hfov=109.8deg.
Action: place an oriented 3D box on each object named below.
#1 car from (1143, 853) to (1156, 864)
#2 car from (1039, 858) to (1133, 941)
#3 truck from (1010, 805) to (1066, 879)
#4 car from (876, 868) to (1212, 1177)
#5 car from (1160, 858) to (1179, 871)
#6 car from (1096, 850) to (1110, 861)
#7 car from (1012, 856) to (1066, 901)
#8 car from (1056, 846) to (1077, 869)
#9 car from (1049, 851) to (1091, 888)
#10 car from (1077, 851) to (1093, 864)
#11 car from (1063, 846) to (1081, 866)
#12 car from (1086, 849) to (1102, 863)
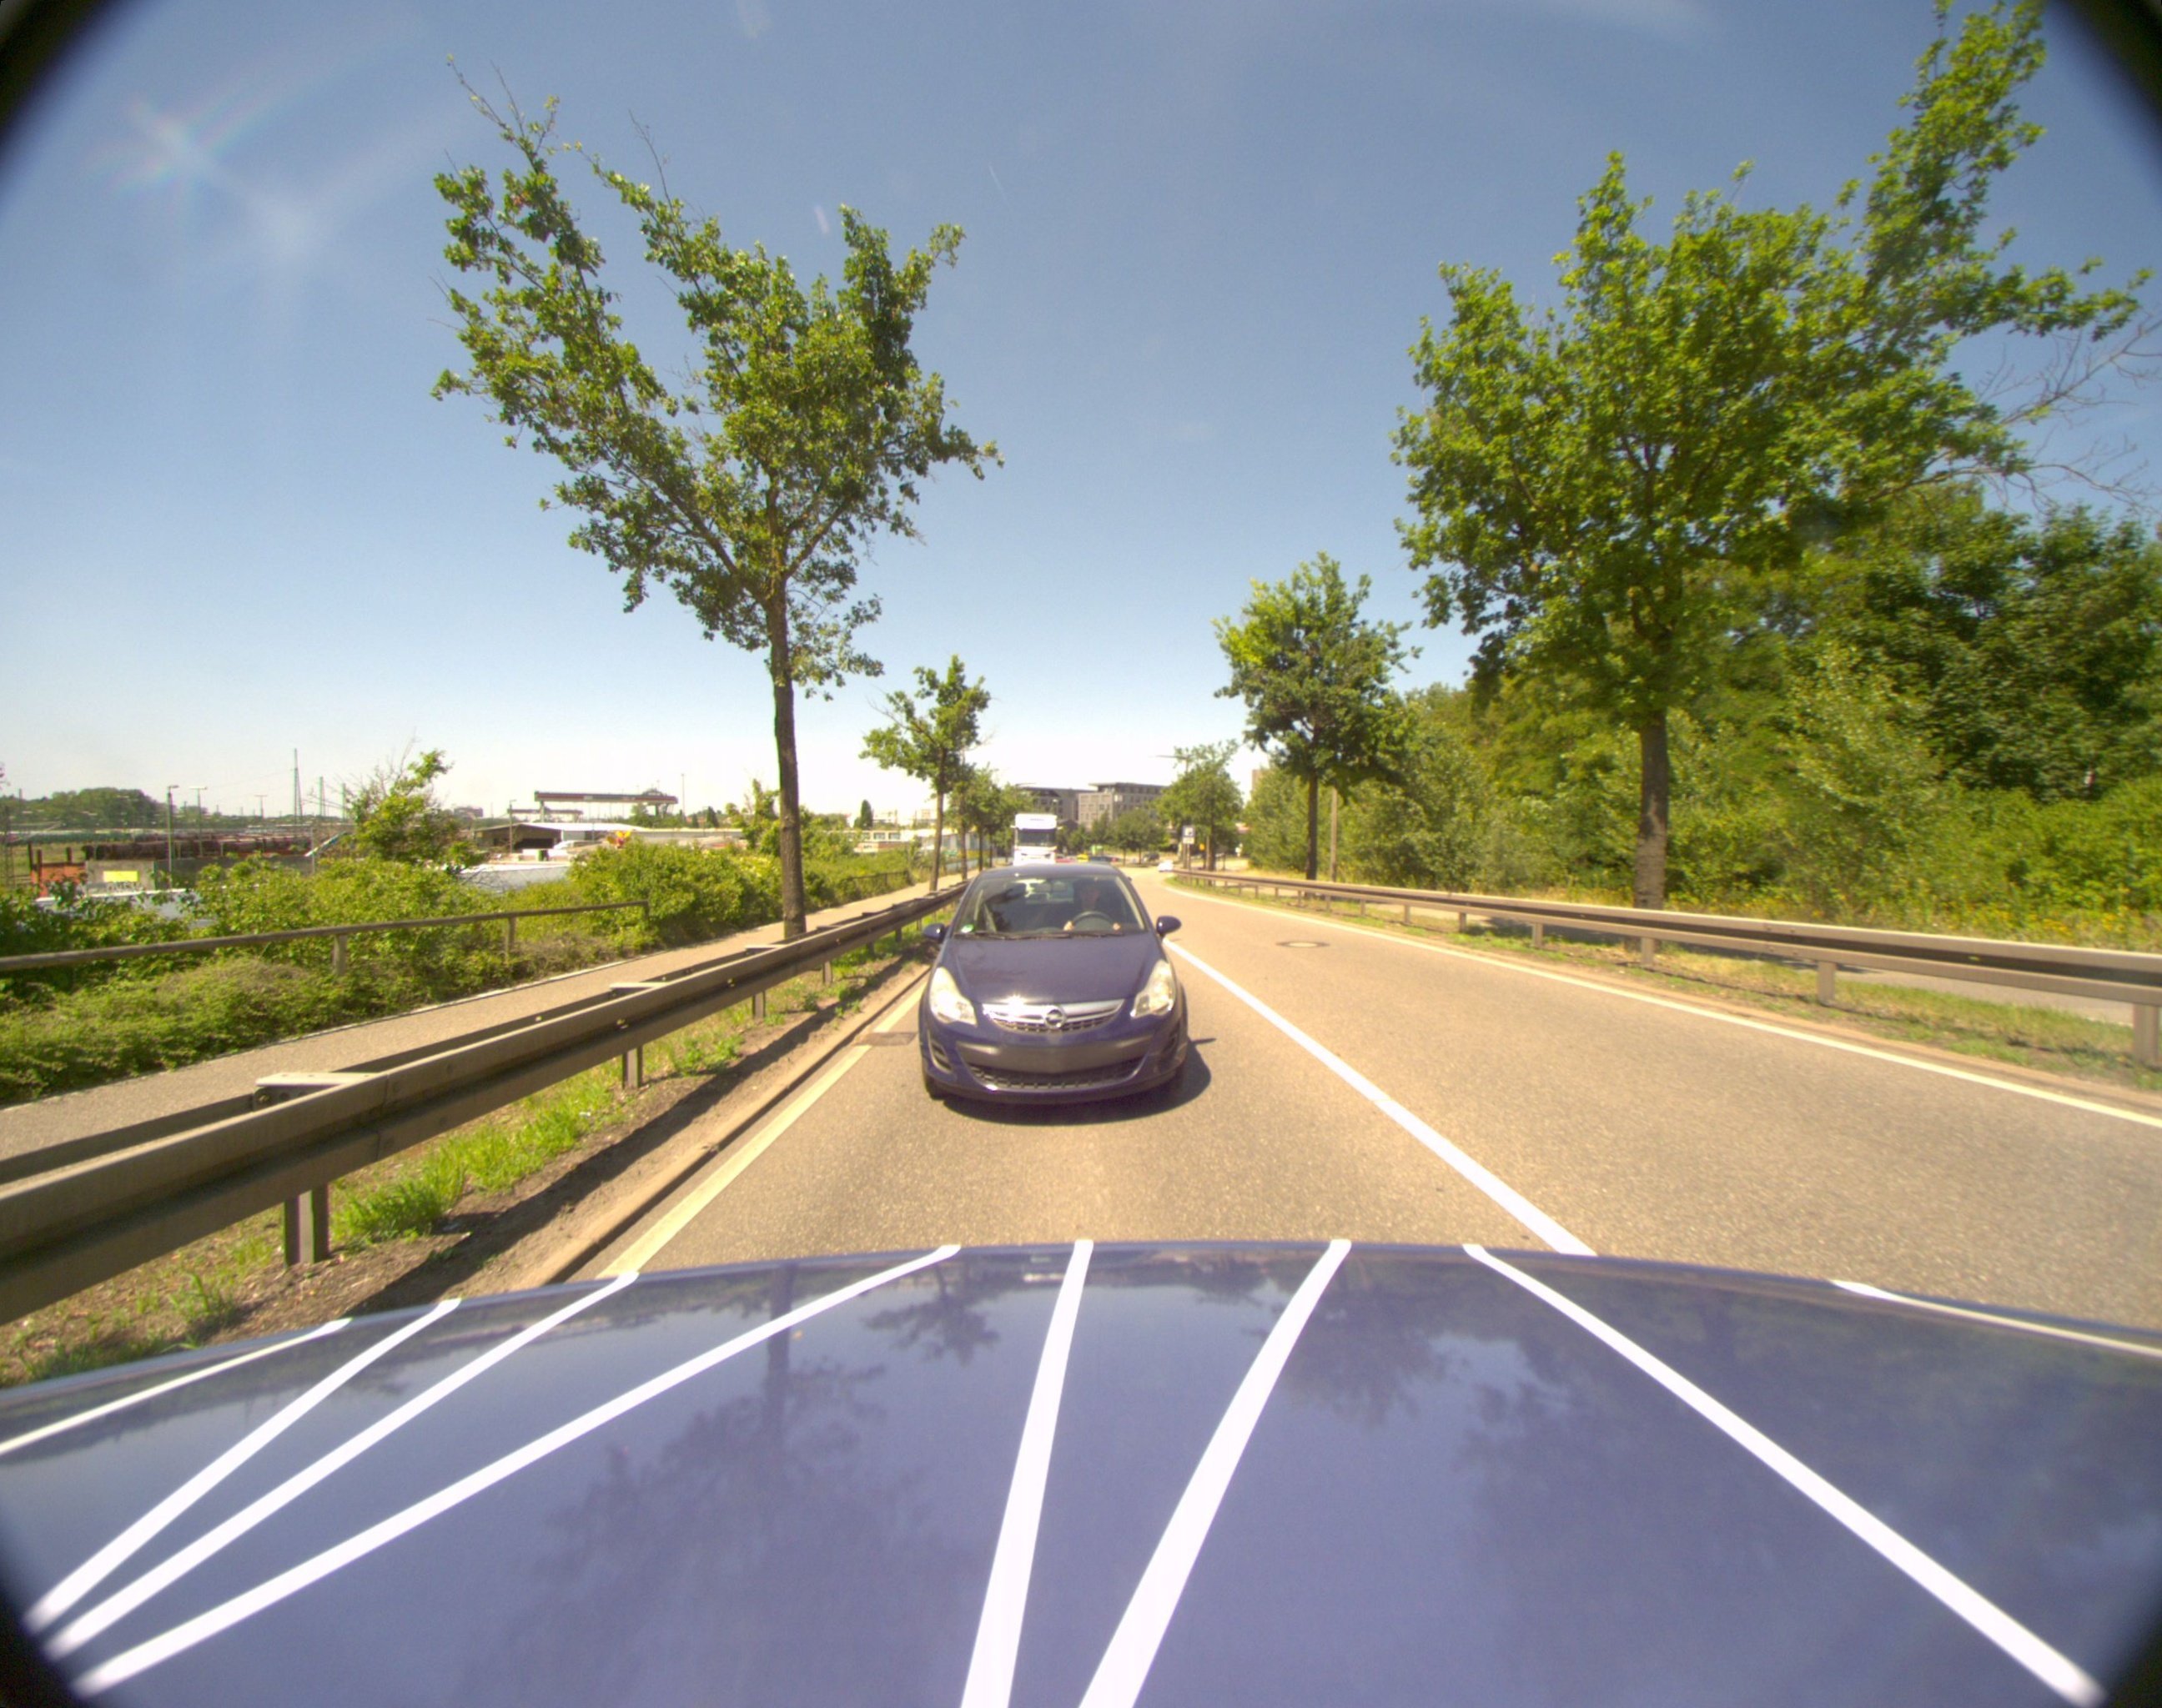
[{"bbox_3d":[13.478,0.965,150.353,1.778,2.002,4.004,-2,1,16],"label":"car"},{"bbox_3d":[-0.007,0.891,16.805,1.781,1.498,3.894,-2,1,-4],"label":"car"},{"bbox_3d":[-3.199,-0.742,51.818,3.072,4.146,16.901,-2,1,-5],"label":"truck"},{"bbox_3d":[-0.278,0.919,5.932,1.720,1.455,3.836,-2,1,-3],"label":"car"},{"bbox_3d":[11.062,1.348,94.768,1.778,1.435,4.004,-2,1,16],"label":"car"},{"bbox_3d":[3.545,0.208,121.107,1.779,1.657,4.002,-2,1,9],"label":"car"},{"bbox_3d":[-1.551,0.839,27.841,1.781,1.398,3.998,-2,1,-4],"label":"car"},{"bbox_3d":[-1.351,0.289,71.715,1.780,2.002,3.999,-2,1,-1],"label":"car"},{"bbox_3d":[-0.533,0.685,35.809,1.780,1.569,3.999,-2,1,-1],"label":"car"},{"bbox_3d":[0.549,0.460,100.093,1.742,1.608,4.001,-2,1,6],"label":"car"},{"bbox_3d":[-0.958,0.209,82.244,1.780,2.002,4.000,-2,1,2],"label":"car"},{"bbox_3d":[1.974,0.240,112.864,1.779,2.002,4.002,-2,1,9],"label":"car"}]
